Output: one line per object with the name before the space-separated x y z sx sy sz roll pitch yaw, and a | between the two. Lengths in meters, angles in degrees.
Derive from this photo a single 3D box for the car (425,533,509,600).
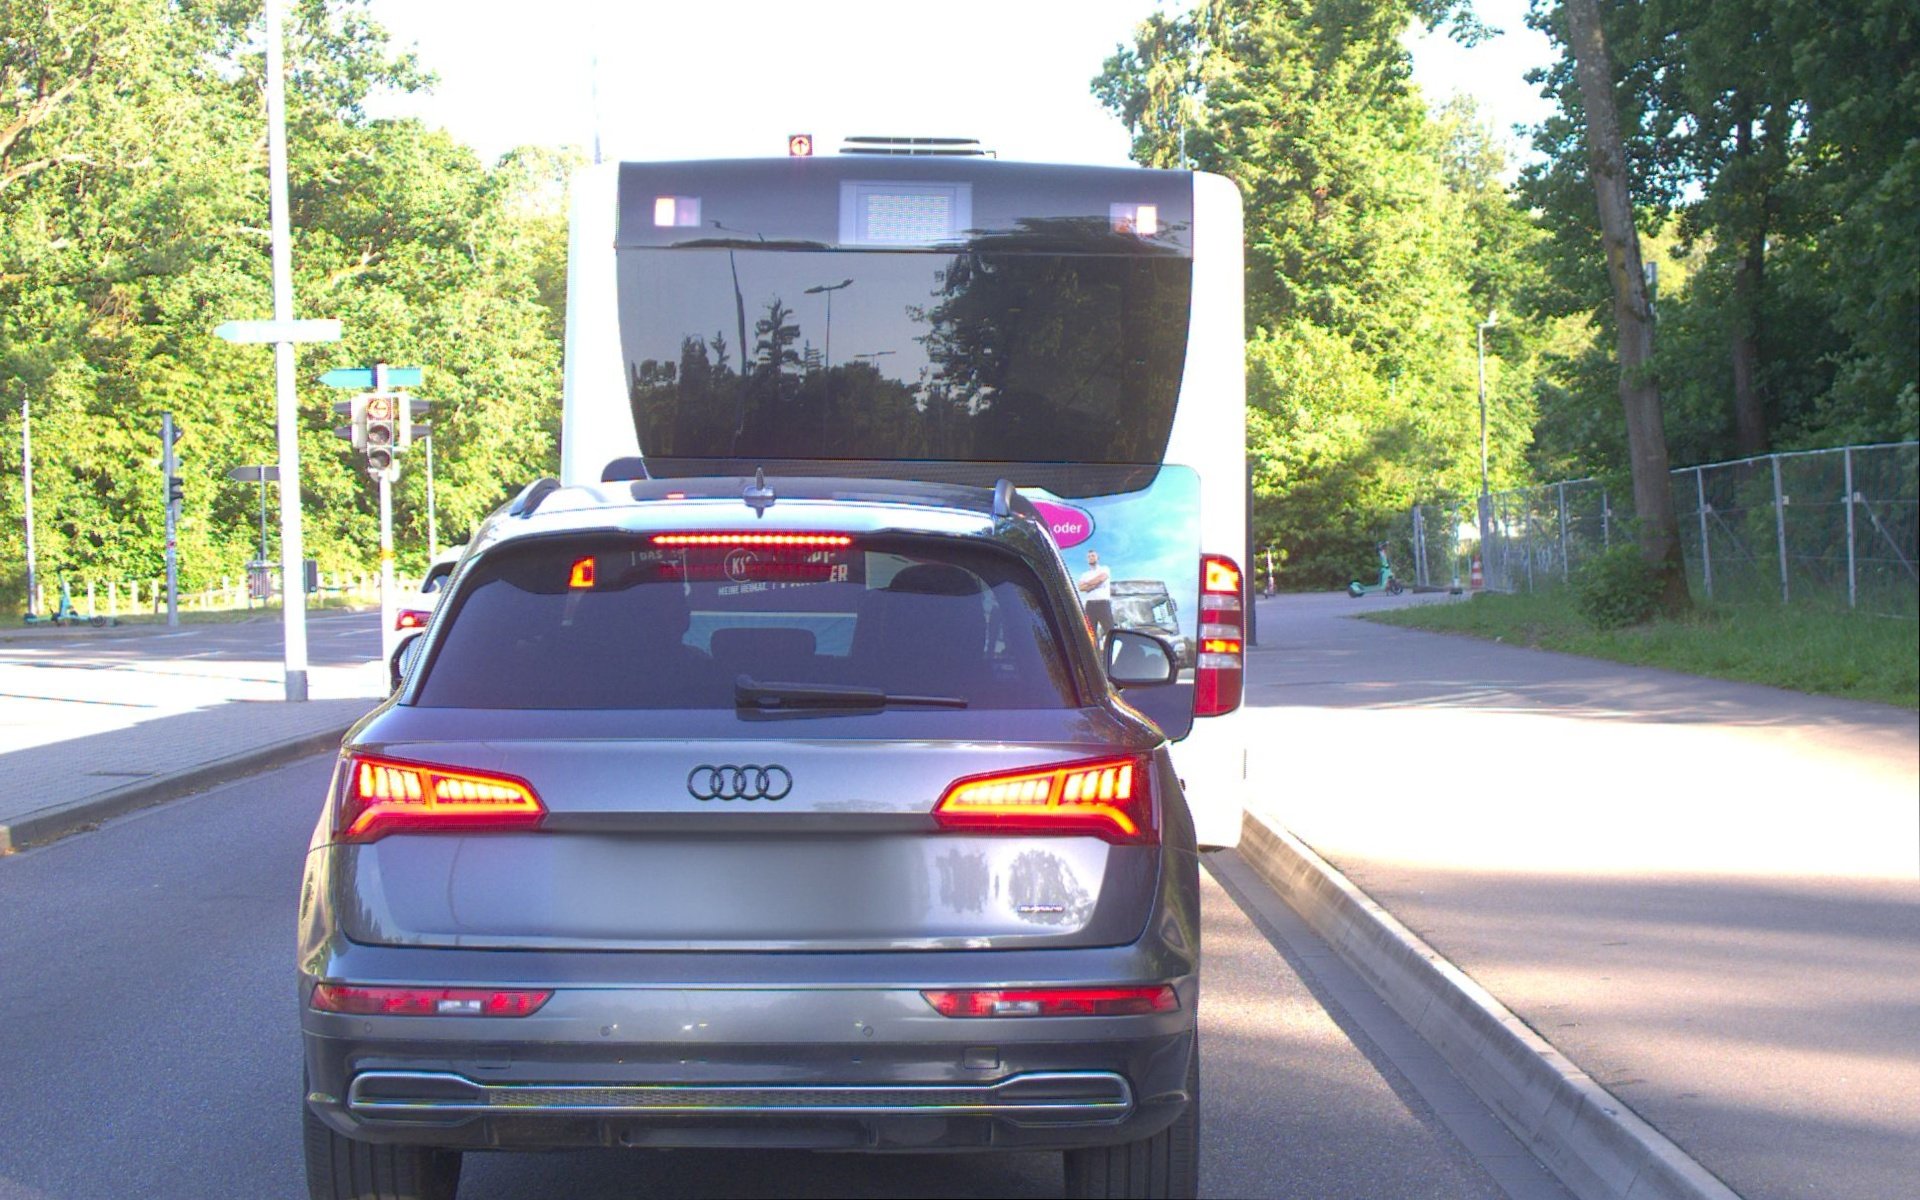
car | -12.943 -0.887 90.514 1.993 1.656 4.001 -2 1 -6

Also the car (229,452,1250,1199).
car | -0.433 0.512 8.356 1.868 1.658 4.000 1 2 -1

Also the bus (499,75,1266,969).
bus | -0.247 -0.354 15.125 2.678 3.131 5.882 1 2 1

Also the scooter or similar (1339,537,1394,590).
scooter or similar | 9.234 -0.835 78.039 1.184 1.170 0.659 1 1 11

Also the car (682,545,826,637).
car | -3.868 -0.184 65.295 1.994 1.646 4.327 1 1 6

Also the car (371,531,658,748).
car | -3.491 0.254 27.580 1.808 1.567 4.000 1 2 -1
